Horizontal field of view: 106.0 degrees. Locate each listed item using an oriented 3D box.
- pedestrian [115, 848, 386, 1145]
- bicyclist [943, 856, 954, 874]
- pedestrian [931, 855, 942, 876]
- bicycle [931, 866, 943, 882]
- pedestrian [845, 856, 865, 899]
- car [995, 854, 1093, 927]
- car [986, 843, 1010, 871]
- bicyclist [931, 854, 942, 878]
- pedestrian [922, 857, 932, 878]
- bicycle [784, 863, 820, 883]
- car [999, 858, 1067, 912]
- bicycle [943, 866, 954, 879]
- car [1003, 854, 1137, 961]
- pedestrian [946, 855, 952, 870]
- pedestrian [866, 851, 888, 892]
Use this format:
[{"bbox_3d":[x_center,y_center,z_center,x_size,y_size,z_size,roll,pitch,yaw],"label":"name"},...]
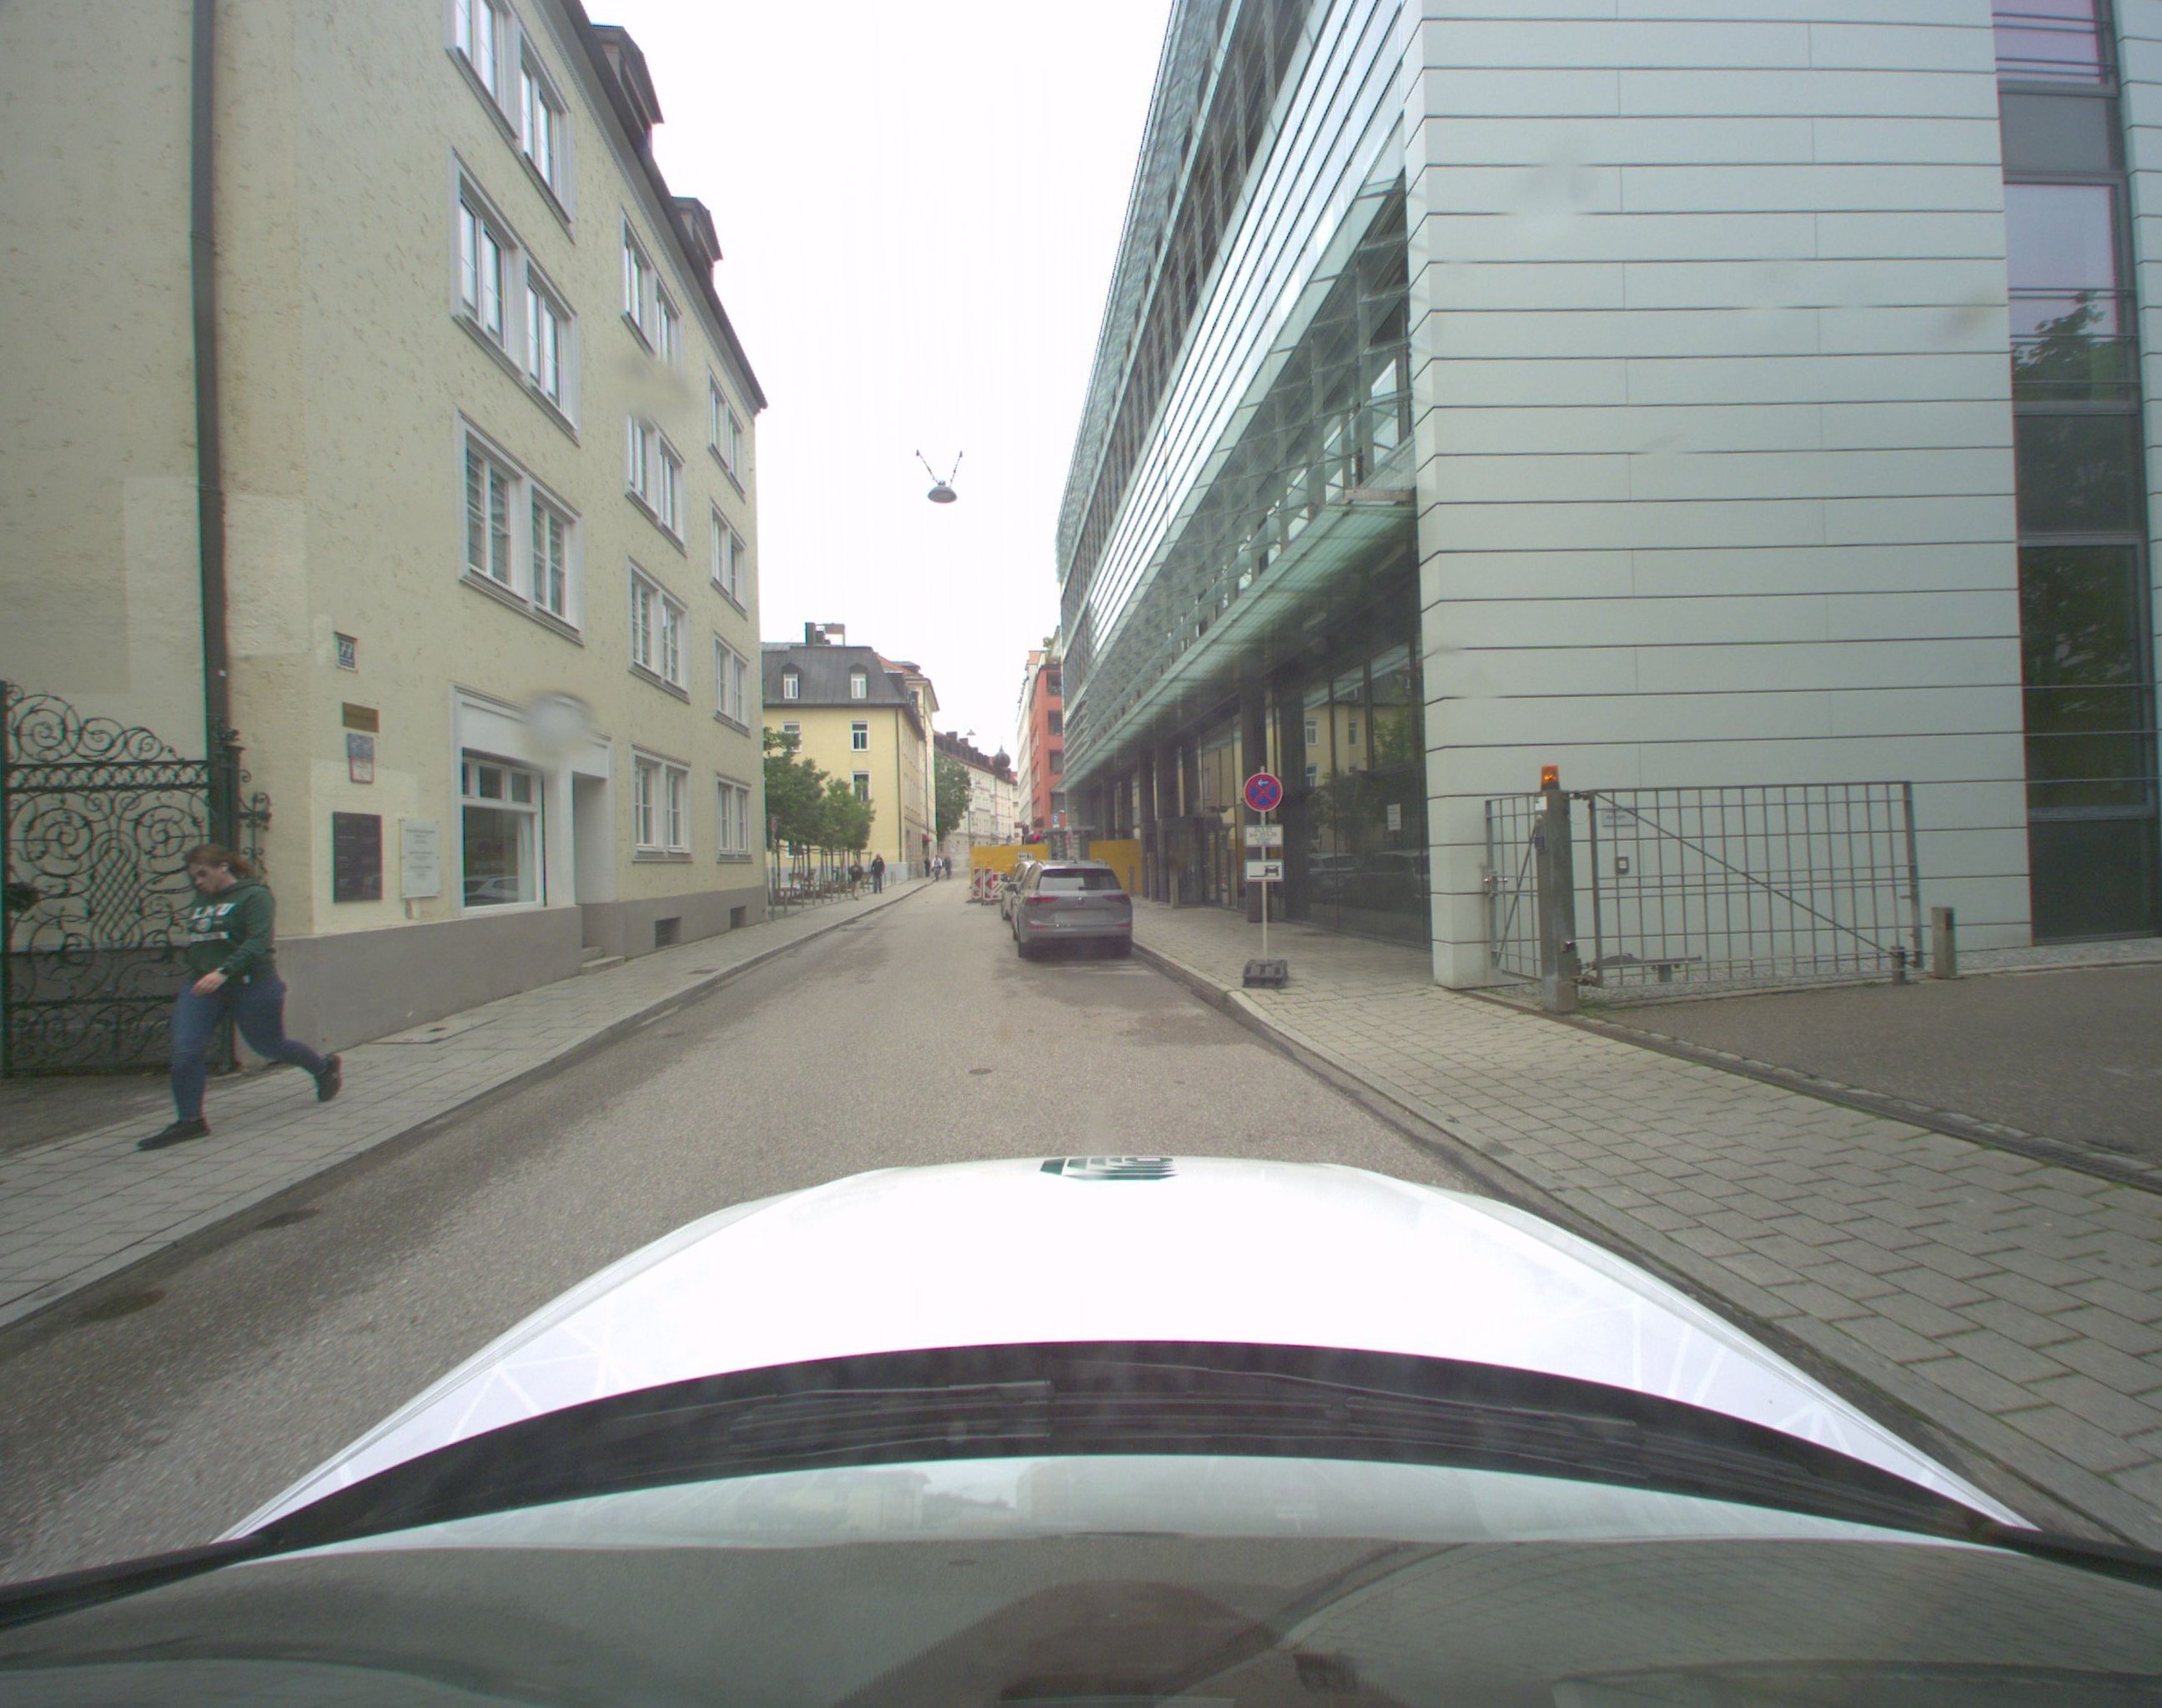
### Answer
[{"bbox_3d":[-5.090,0.806,5.075,0.712,1.666,0.927,1,-1,-7],"label":"pedestrian"},{"bbox_3d":[-9.868,0.820,60.801,0.707,1.371,0.811,-2,0,-8],"label":"bicyclist"},{"bbox_3d":[-11.678,0.940,65.774,0.839,1.700,0.801,-1,-1,-8],"label":"pedestrian"},{"bbox_3d":[-9.964,1.397,56.279,0.661,1.039,1.999,-2,0,-7],"label":"bicycle"},{"bbox_3d":[-8.932,0.932,32.245,0.647,1.676,0.721,-1,-1,-8],"label":"pedestrian"},{"bbox_3d":[-0.975,0.768,18.820,1.708,1.467,4.221,0,-1,-10],"label":"car"},{"bbox_3d":[-7.724,0.281,75.573,1.992,2.536,4.961,-1,0,-8],"label":"car"},{"bbox_3d":[-9.995,0.823,56.360,0.659,1.643,0.893,-2,0,-8],"label":"bicyclist"},{"bbox_3d":[-12.477,1.103,65.960,0.670,1.648,0.759,-1,-1,-8],"label":"pedestrian"},{"bbox_3d":[-17.475,1.210,50.968,2.037,1.197,0.570,-1,0,-1],"label":"bicycle"},{"bbox_3d":[-1.503,0.847,23.942,1.706,1.414,4.498,0,-1,-7],"label":"car"},{"bbox_3d":[-9.864,1.357,60.829,0.707,0.905,1.805,-2,0,-7],"label":"bicycle"},{"bbox_3d":[-0.353,0.756,13.575,1.707,1.432,4.317,-2,0,-8],"label":"car"},{"bbox_3d":[-14.470,0.920,89.401,0.634,1.675,0.516,-1,0,-8],"label":"pedestrian"},{"bbox_3d":[-9.594,0.830,38.364,0.867,1.881,1.131,-1,-1,-8],"label":"pedestrian"}]
